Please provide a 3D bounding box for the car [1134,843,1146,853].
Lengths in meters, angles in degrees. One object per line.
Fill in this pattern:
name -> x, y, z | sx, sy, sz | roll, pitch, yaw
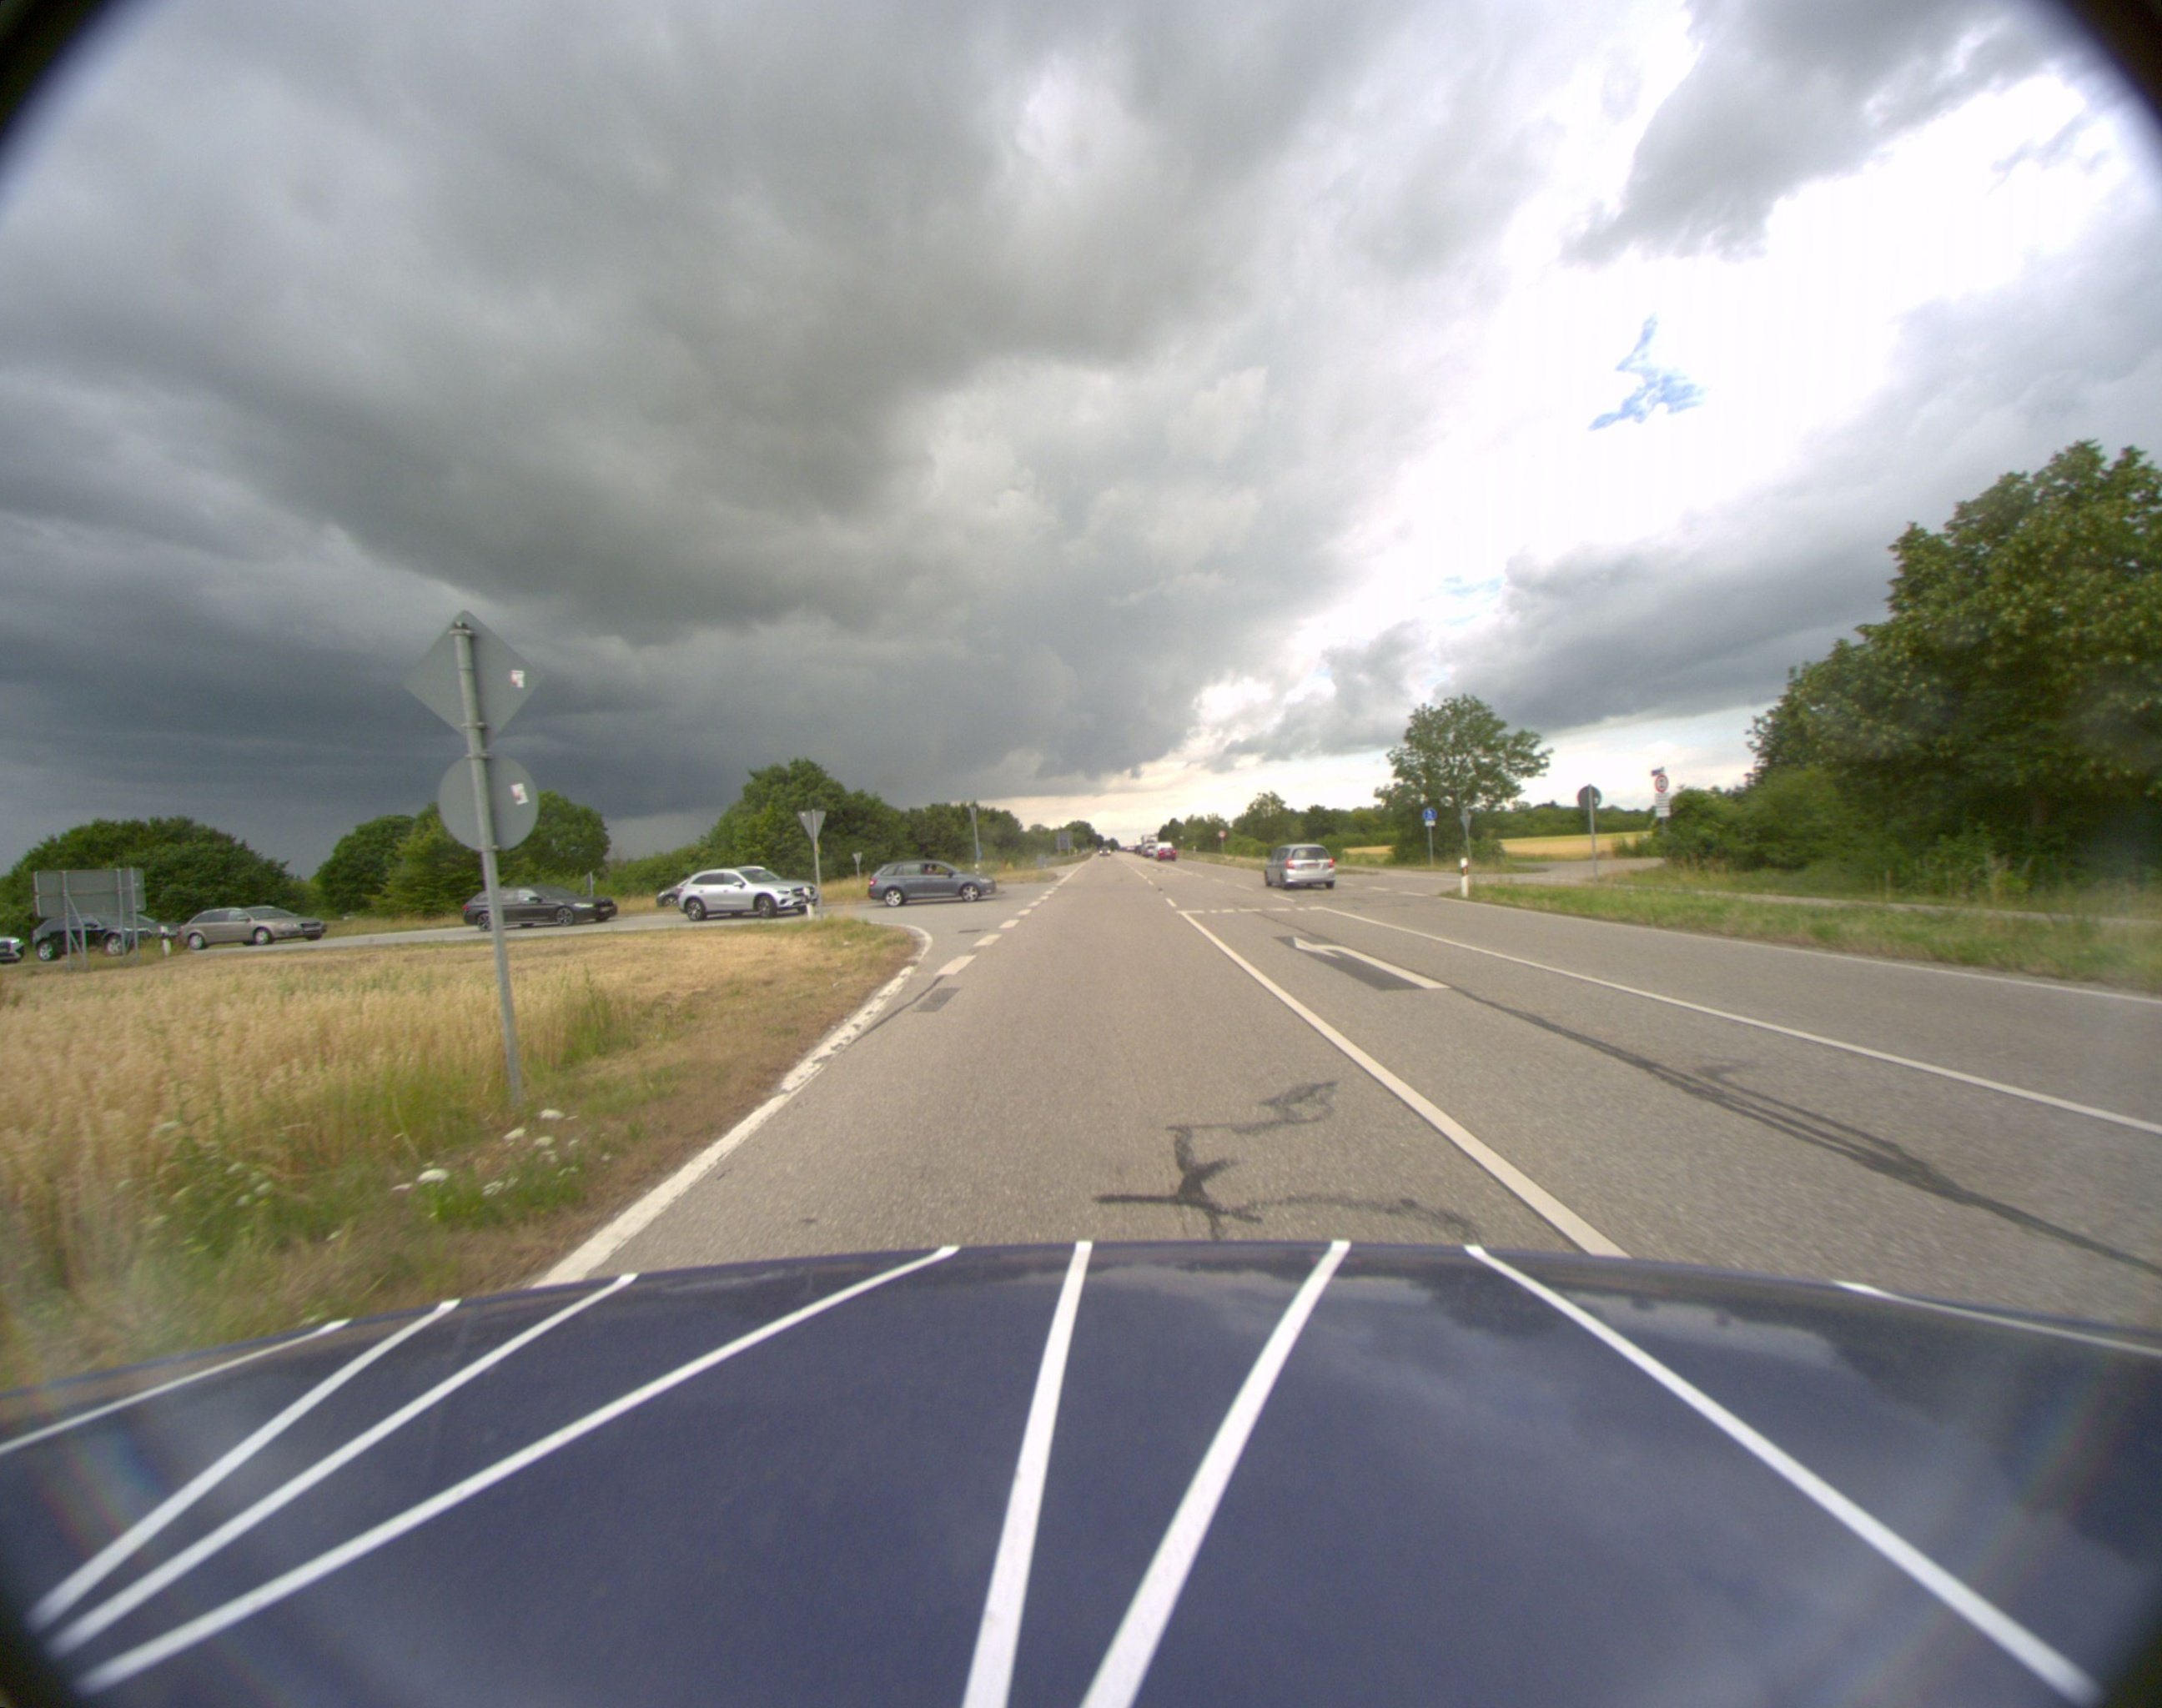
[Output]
car -> 10.905, -1.083, 141.040 | 1.856, 1.739, 4.000 | -3, 0, 1

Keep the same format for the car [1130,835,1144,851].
car -> 11.271, -2.145, 154.036 | 2.339, 3.011, 6.558 | -4, 0, 1

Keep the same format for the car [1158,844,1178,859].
car -> 8.878, -0.234, 77.371 | 1.676, 1.393, 4.089 | -2, 0, 2

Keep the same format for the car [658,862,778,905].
car -> -15.708, 1.263, 33.007 | 4.287, 1.648, 1.754 | -2, 1, 1

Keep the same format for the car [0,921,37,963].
car -> -43.301, 3.535, 29.096 | 4.633, 1.486, 1.722 | -3, 3, 6

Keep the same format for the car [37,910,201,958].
car -> -35.998, 2.977, 28.484 | 4.209, 1.346, 1.722 | -3, 3, 6

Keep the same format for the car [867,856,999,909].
car -> -4.898, 0.922, 25.625 | 4.115, 1.439, 1.717 | -4, 2, -5

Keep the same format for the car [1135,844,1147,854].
car -> 10.270, -0.885, 130.315 | 1.847, 1.516, 4.000 | -4, 0, 2

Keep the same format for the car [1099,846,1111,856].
car -> 3.943, -0.523, 124.722 | 1.998, 1.474, 4.000 | -3, 1, 2

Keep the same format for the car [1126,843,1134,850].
car -> 13.432, -2.121, 208.708 | 1.856, 1.739, 4.000 | -3, 0, 2

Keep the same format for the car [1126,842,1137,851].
car -> 11.559, -1.608, 174.659 | 2.339, 1.910, 4.876 | -4, 0, 2

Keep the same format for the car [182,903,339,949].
car -> -30.445, 2.659, 28.255 | 4.209, 1.345, 1.723 | -3, 0, 6

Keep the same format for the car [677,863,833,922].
car -> -10.489, 1.230, 24.488 | 4.384, 1.578, 1.999 | -3, 3, 22

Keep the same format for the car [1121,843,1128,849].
car -> 13.229, -2.304, 232.493 | 1.856, 1.739, 4.000 | -3, 0, 2

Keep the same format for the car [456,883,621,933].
car -> -18.925, 1.882, 26.600 | 4.689, 1.346, 1.722 | -3, 3, 8

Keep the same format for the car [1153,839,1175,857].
car -> 9.734, -0.707, 89.471 | 2.111, 1.875, 5.391 | -3, 0, 1

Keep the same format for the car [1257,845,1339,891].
car -> 7.372, 0.429, 26.190 | 1.734, 1.423, 3.934 | -2, 0, 1

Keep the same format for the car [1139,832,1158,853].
car -> 9.854, -1.606, 111.682 | 2.339, 3.011, 6.558 | -1, 0, 2

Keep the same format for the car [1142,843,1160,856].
car -> 9.168, -0.557, 99.651 | 1.998, 1.614, 4.261 | -1, 0, 0
